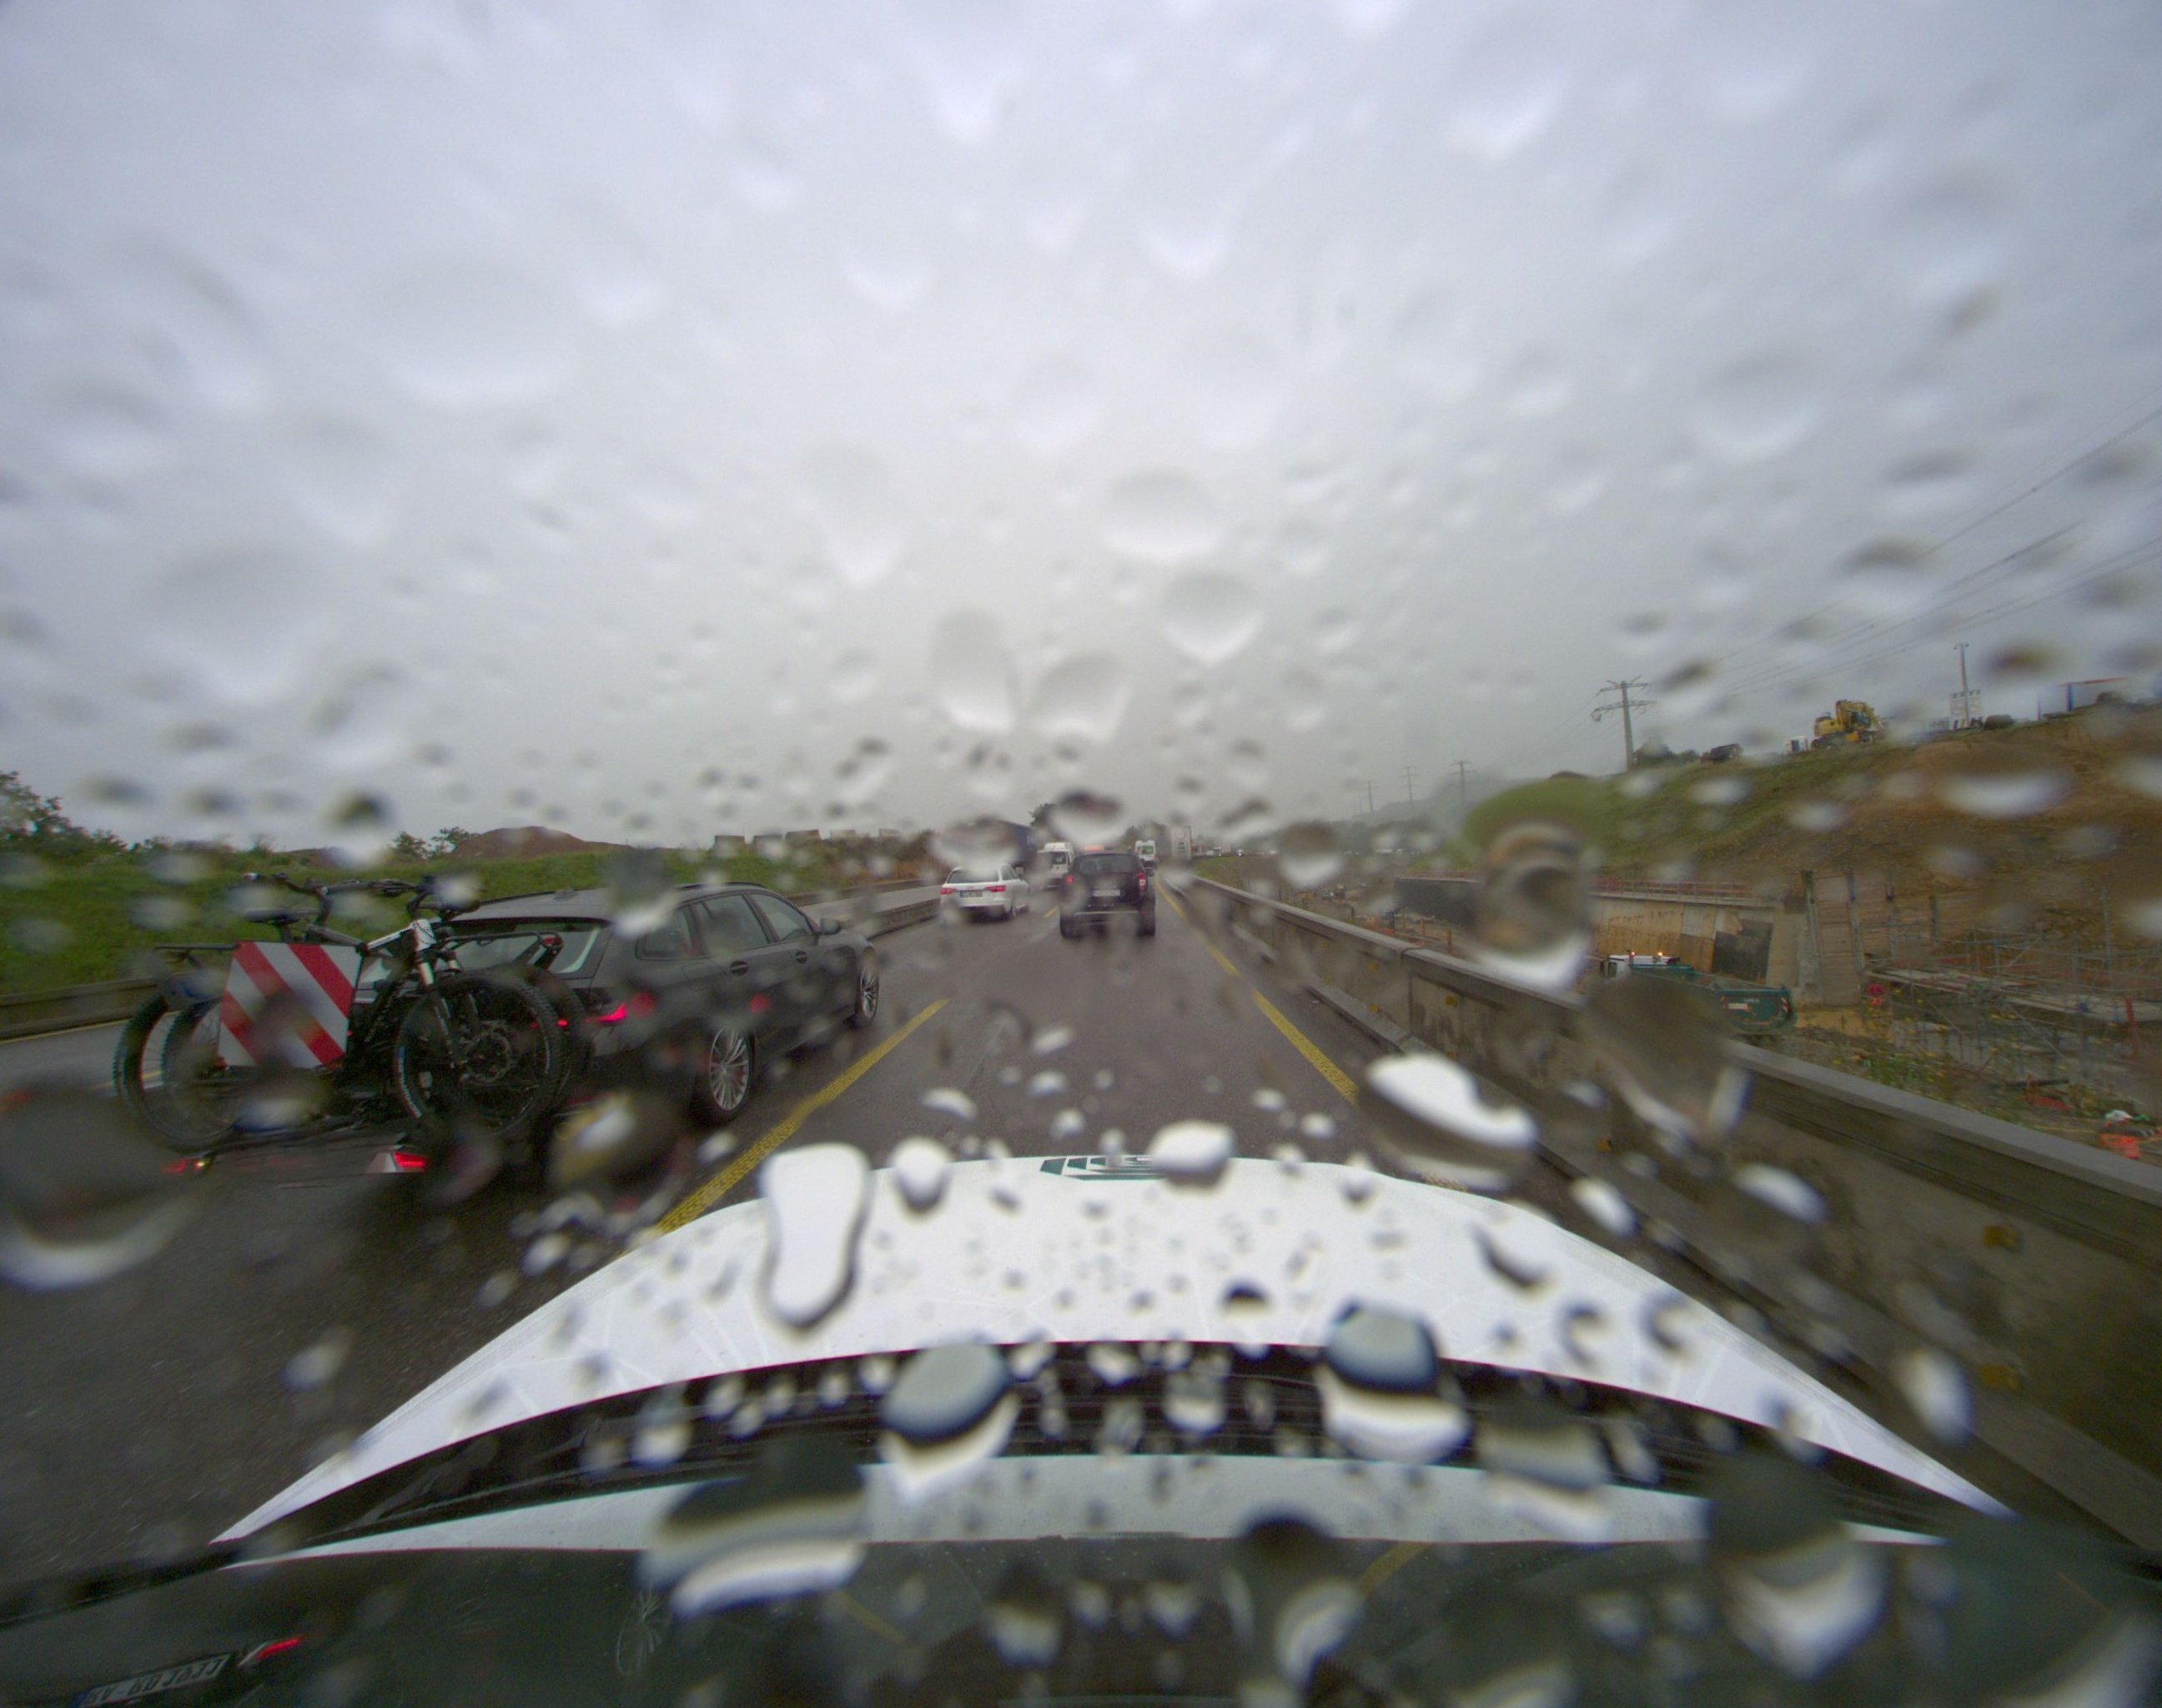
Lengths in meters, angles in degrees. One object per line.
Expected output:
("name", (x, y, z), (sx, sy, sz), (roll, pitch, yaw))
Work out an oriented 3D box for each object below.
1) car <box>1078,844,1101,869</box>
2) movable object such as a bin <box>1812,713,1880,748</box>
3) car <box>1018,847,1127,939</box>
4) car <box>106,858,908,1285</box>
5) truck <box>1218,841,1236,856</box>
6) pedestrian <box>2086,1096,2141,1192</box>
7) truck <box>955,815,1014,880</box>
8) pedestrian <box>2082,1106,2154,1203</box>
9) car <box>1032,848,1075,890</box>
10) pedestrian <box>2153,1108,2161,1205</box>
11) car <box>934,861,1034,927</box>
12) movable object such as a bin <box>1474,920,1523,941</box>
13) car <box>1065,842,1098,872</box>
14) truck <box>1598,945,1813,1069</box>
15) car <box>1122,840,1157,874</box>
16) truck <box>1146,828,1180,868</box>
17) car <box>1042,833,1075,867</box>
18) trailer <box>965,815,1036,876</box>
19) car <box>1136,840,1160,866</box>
("car", (0.963, 0.267, 88.336), (2.045, 2.577, 7.026), (-2, 0, 3))
("movable object such as a bin", (65.360, -10.521, 69.663), (2.414, 2.443, 3.980), (-2, 1, 10))
("car", (-0.035, 0.721, 16.455), (1.818, 1.591, 4.004), (-2, -1, 4))
("car", (-2.864, 0.881, 6.027), (1.728, 1.462, 5.632), (-2, 1, 2))
("truck", (40.256, -1.609, 224.282), (3.444, 3.715, 8.458), (-3, 0, 18))
("pedestrian", (23.559, 6.587, 18.591), (0.568, 1.869, 0.740), (-3, -1, 39))
("truck", (-6.398, -0.462, 54.866), (2.776, 4.034, 5.827), (-2, 1, 4))
("pedestrian", (22.851, 6.599, 17.956), (0.570, 1.869, 0.737), (-2, -1, 9))
("car", (-1.248, 0.679, 37.881), (1.821, 1.815, 3.997), (-2, -1, -1))
("pedestrian", (23.341, 6.476, 17.167), (0.576, 1.944, 0.729), (-1, -1, -26))
("car", (-2.407, 0.976, 21.254), (1.818, 1.499, 4.004), (-2, -1, 4))
("movable object such as a bin", (41.747, 7.627, 81.429), (2.008, 2.014, 3.800), (2, -4, -34))
("car", (0.082, 0.230, 53.014), (1.818, 1.815, 4.005), (-2, -1, 4))
("truck", (25.064, 5.957, 33.497), (2.715, 3.491, 9.082), (-2, -1, 7))
("car", (3.377, 0.181, 46.573), (1.817, 1.815, 4.006), (-2, -1, 6))
("truck", (11.065, -0.706, 108.488), (3.522, 5.077, 10.470), (-2, -1, 10))
("car", (-1.787, -0.341, 67.358), (1.997, 2.653, 6.892), (-2, 1, 4))
("trailer", (-5.815, -0.648, 61.675), (2.766, 4.034, 13.760), (-2, 1, 5))
("car", (6.556, -0.046, 79.107), (1.815, 2.437, 4.169), (-2, -1, 10))
